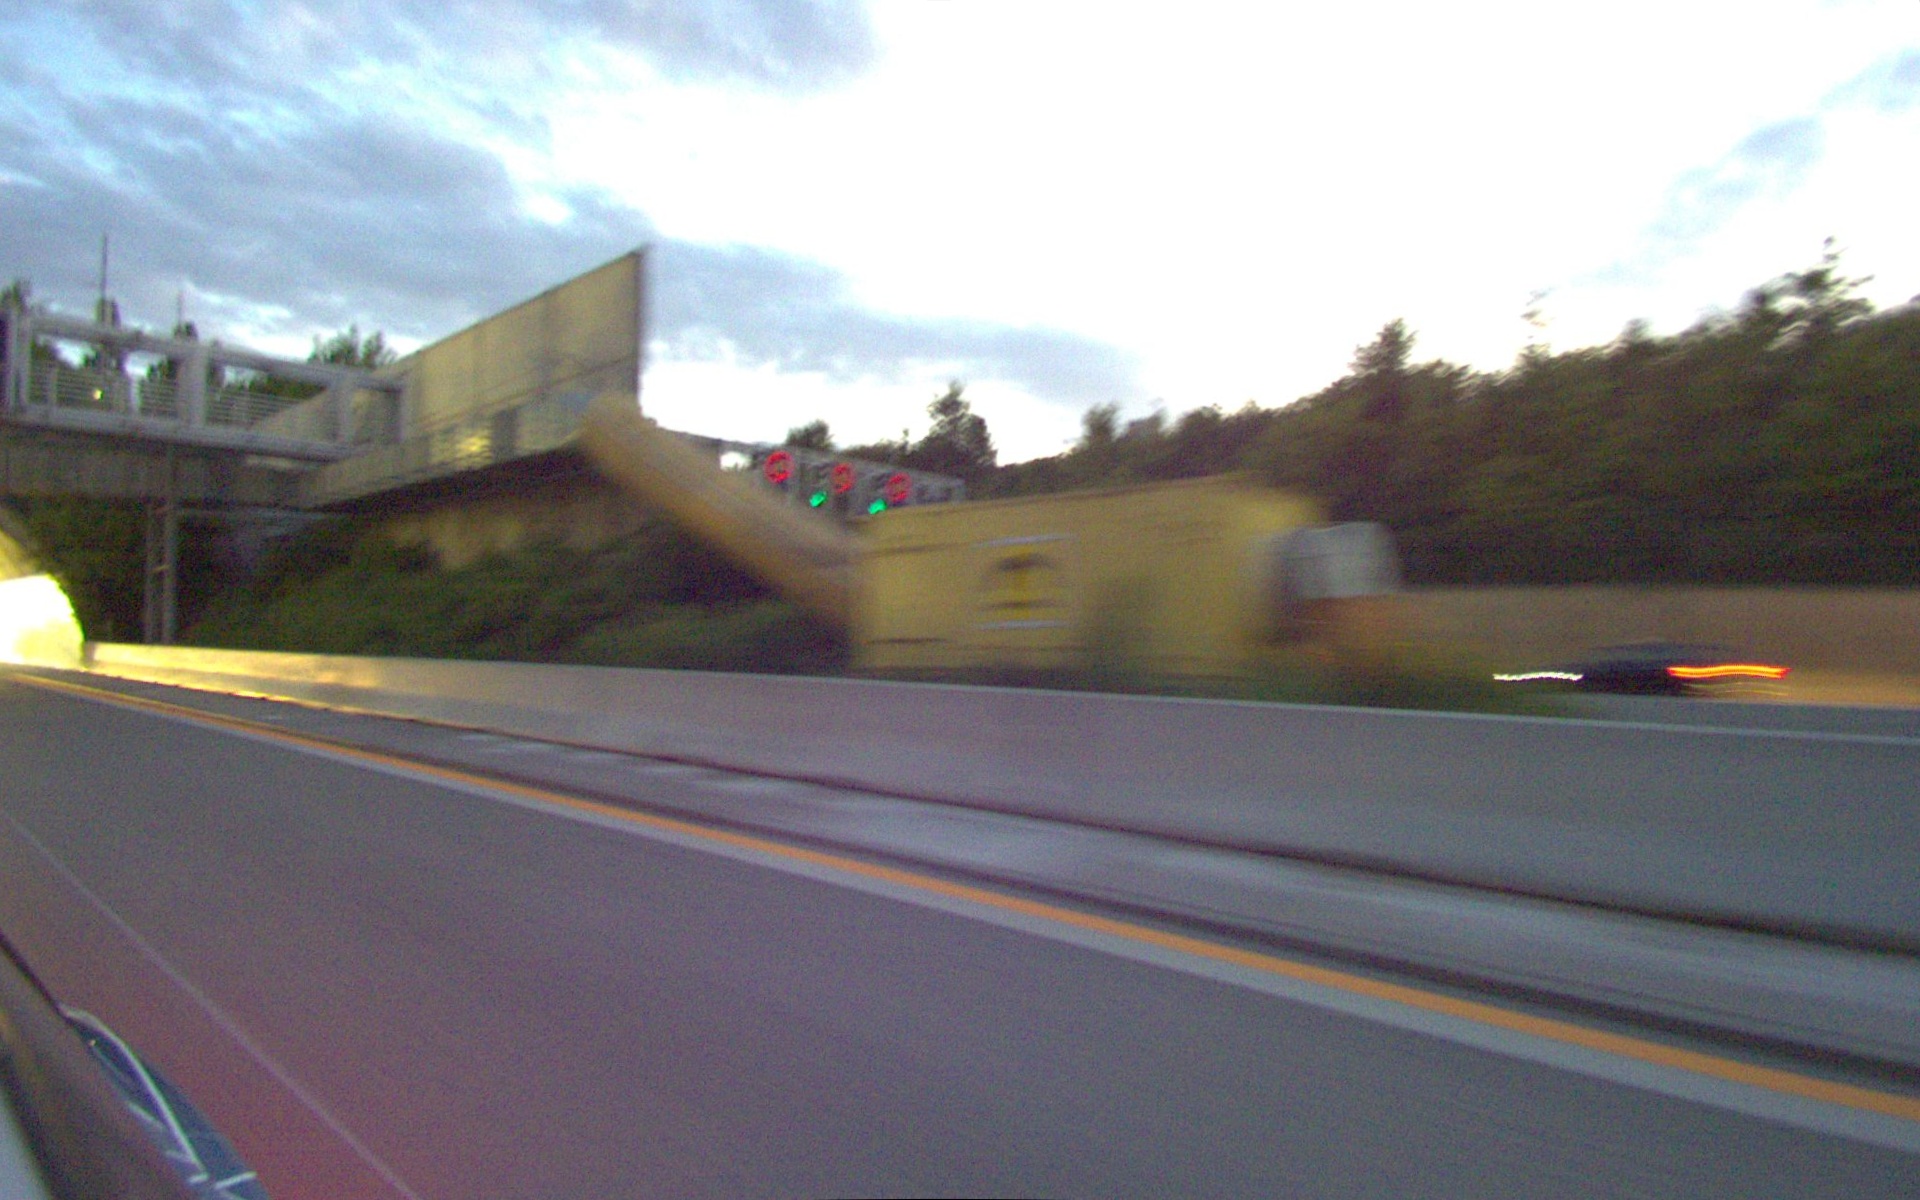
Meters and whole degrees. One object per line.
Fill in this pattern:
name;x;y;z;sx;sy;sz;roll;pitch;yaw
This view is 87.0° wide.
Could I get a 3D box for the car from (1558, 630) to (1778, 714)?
car;15.502;1.498;22.254;3.790;1.582;1.779;-1;0;41
